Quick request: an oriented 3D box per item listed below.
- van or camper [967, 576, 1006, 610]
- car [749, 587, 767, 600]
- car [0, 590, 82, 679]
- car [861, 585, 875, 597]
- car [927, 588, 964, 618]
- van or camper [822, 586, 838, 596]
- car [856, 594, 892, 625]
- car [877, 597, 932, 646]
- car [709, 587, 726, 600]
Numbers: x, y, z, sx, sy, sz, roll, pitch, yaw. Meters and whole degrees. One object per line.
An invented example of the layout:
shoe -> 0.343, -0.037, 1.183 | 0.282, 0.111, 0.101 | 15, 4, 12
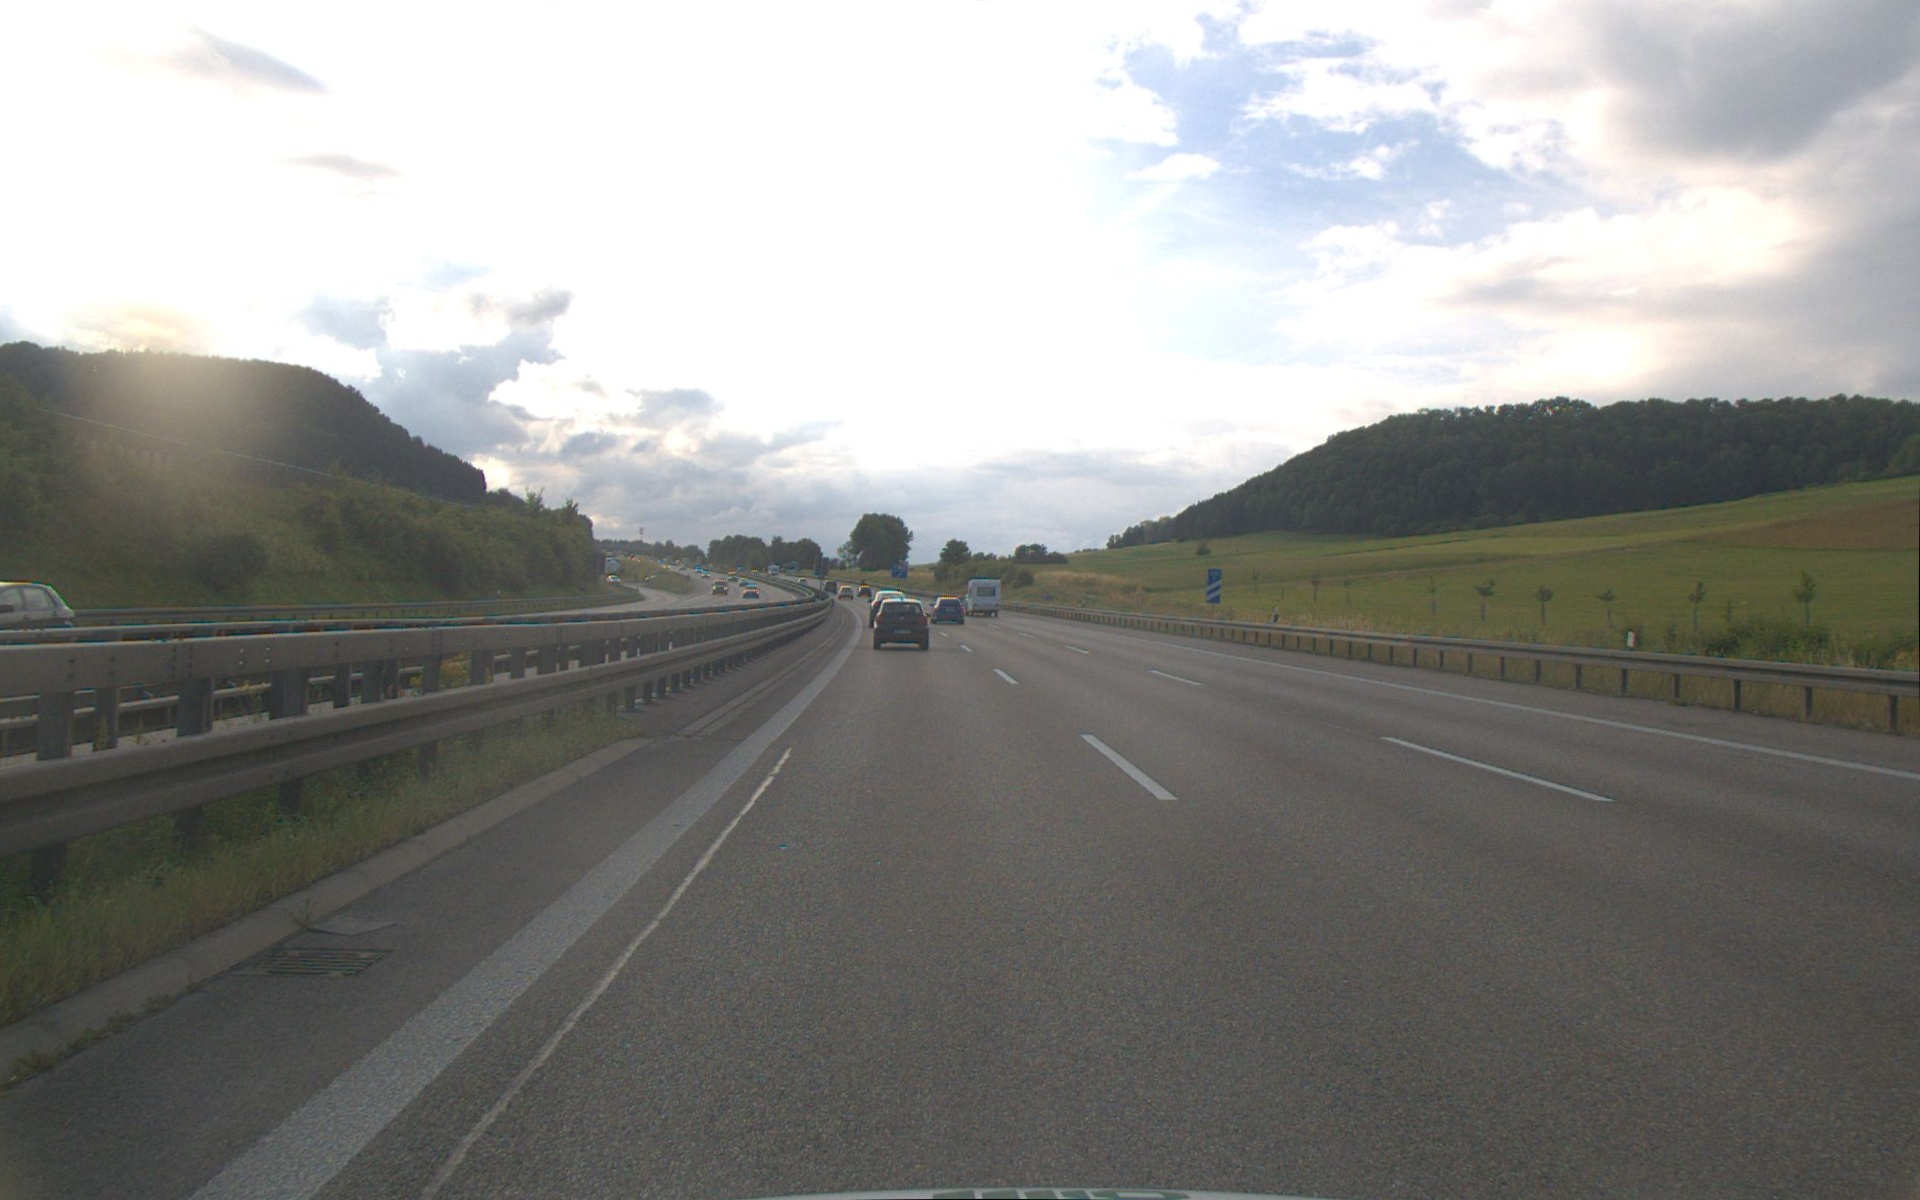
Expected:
van or camper -> 1.854, -0.507, 116.567 | 2.496, 2.278, 5.327 | 1, 0, -2
car -> -23.530, -0.784, 192.842 | 1.955, 1.455, 4.581 | 1, 0, -6
car -> -16.432, 0.549, 27.483 | 1.672, 1.440, 3.998 | 1, 0, -3
car -> -12.367, -1.209, 222.764 | 1.918, 1.601, 3.998 | 1, 0, -3
car -> -0.817, 0.163, 91.130 | 1.732, 1.458, 3.997 | 5, -1, -3
van or camper -> -19.029, -1.346, 242.395 | 1.926, 1.458, 4.000 | 1, 0, 0
car -> -3.988, 0.437, 77.493 | 1.533, 1.404, 3.999 | 0, 0, -1
car -> -1.686, 0.615, 49.580 | 1.508, 1.371, 3.674 | 1, 0, -4
car -> -31.318, -0.860, 213.652 | 1.741, 1.624, 3.996 | 1, 0, -4
